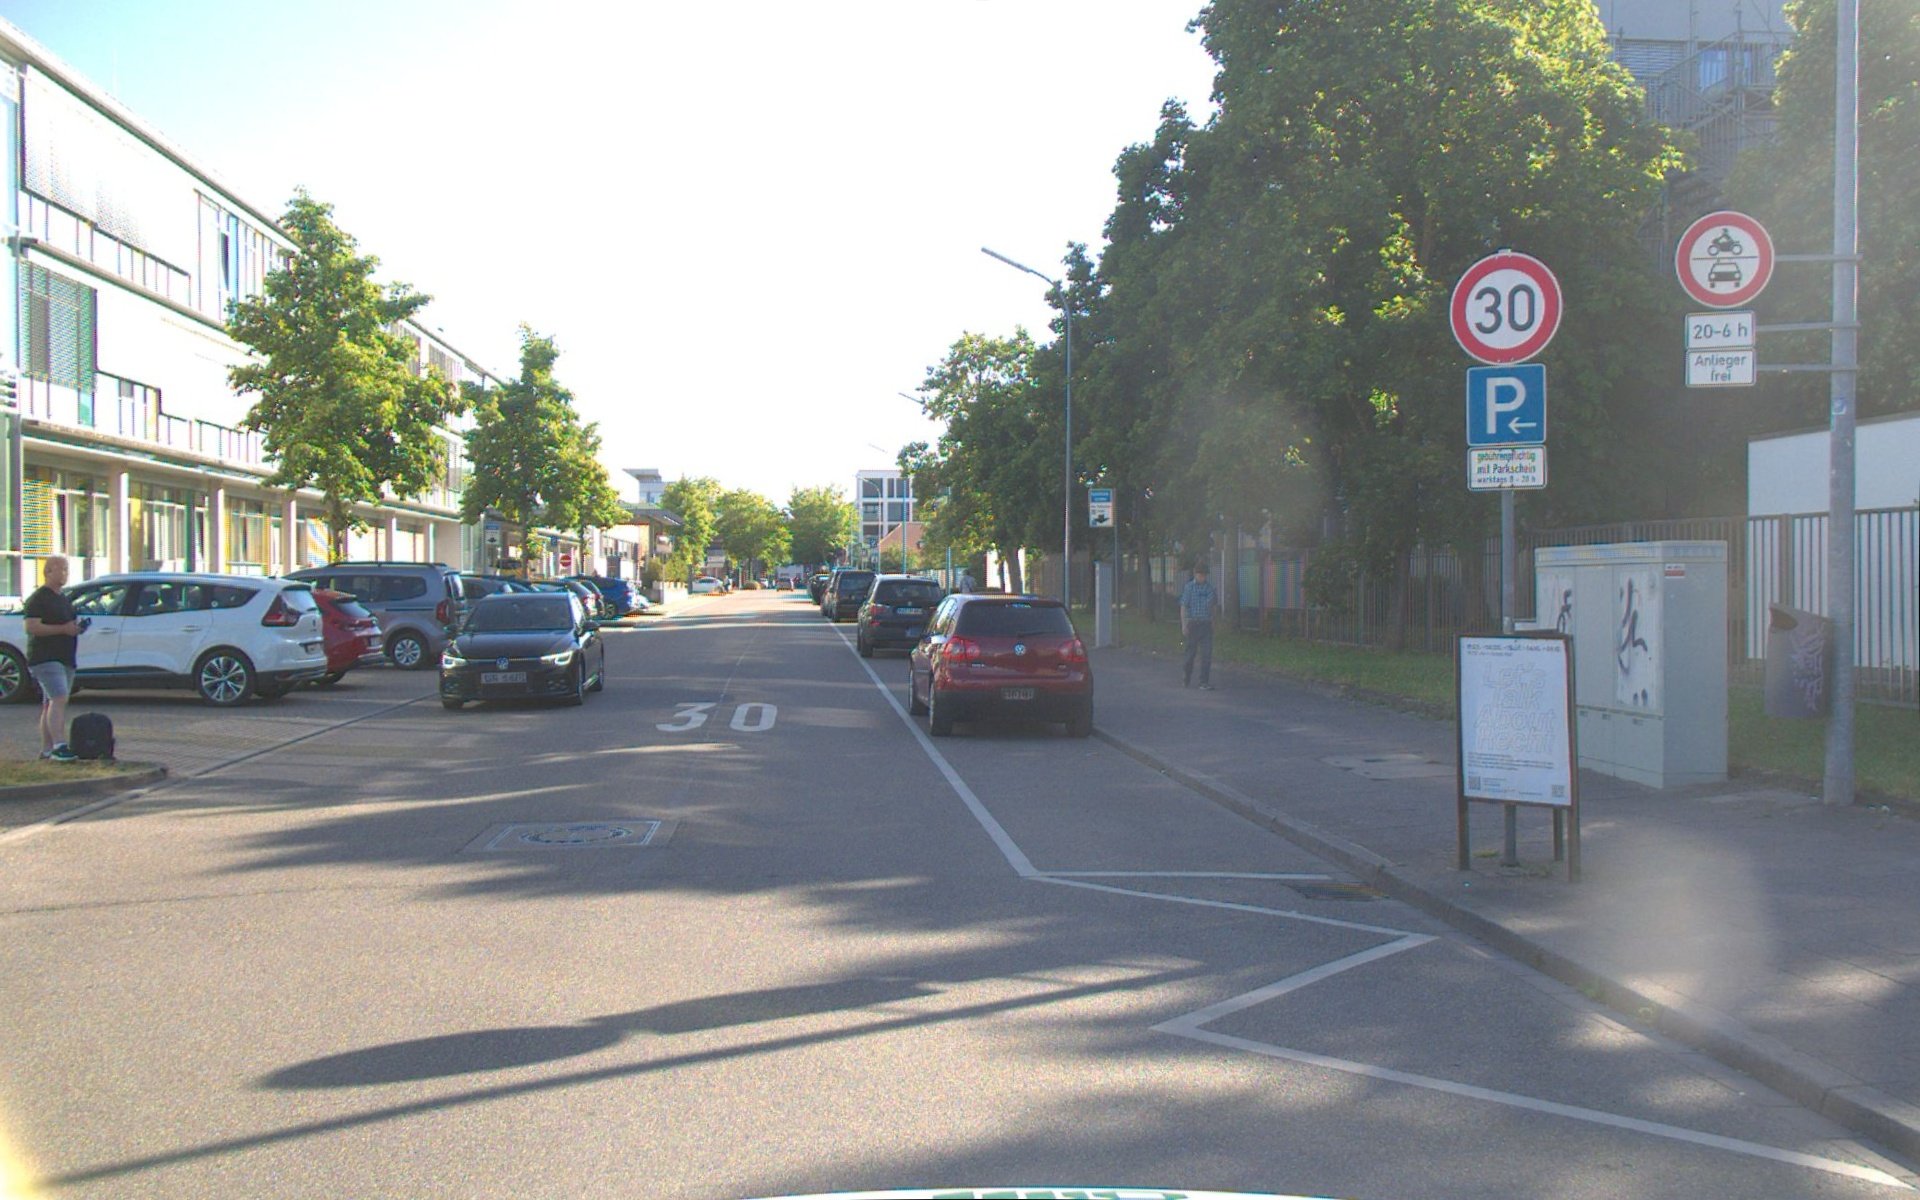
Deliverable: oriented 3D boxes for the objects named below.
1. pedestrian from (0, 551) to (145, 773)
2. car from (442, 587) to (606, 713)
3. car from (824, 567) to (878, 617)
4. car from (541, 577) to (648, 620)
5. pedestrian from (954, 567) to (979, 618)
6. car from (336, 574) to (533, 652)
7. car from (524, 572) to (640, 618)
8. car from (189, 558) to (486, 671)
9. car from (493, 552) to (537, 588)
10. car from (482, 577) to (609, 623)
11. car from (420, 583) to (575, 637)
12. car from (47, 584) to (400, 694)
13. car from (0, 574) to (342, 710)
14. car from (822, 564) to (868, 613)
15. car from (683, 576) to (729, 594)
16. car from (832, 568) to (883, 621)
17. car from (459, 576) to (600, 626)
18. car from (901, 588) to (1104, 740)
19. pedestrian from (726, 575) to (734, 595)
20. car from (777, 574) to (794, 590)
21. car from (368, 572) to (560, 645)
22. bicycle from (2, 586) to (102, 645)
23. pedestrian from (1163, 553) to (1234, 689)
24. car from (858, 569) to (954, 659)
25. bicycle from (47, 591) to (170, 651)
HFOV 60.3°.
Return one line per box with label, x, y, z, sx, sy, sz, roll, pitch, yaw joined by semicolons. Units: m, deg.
pedestrian;-7.795;0.525;14.533;0.841;1.874;0.825;1;0;-4
car;-5.809;0.595;22.437;1.672;1.476;4.078;-2;1;-9
car;-4.368;-0.341;65.835;1.955;1.854;4.193;-1;1;-6
car;-14.288;-0.091;64.875;3.913;1.579;1.996;-1;1;-9
pedestrian;0.224;-0.254;55.886;0.685;1.690;0.751;-3;1;-6
car;-11.619;0.278;36.827;3.914;1.635;1.868;1;0;-10
car;-14.225;-0.209;62.428;4.137;1.631;1.868;1;0;-10
car;-11.139;0.250;29.851;4.650;1.897;1.825;1;1;-6
car;-26.871;-1.784;99.985;1.955;2.049;3.995;0;0;-6
car;-14.437;0.004;57.796;4.137;1.512;1.868;1;1;-10
car;-12.674;0.263;45.546;3.914;1.382;1.739;1;1;-10
car;-10.668;0.532;24.231;4.348;1.527;1.825;0;0;-6
car;-10.652;0.516;21.500;4.519;1.680;1.867;0;0;-3
car;-5.041;-0.524;72.037;1.838;2.013;3.995;-1;1;-6
car;-22.317;-1.350;145.546;3.910;1.545;1.997;0;-1;-6
car;-3.737;-0.220;59.634;1.699;1.862;3.901;0;1;-6
car;-13.610;0.015;52.438;4.137;1.487;1.868;1;1;-10
car;0.354;0.627;18.891;1.687;1.480;4.646;1;1;-6
pedestrian;-19.388;-1.267;139.485;0.607;1.652;0.715;-1;1;-6
car;-17.711;-1.847;168.121;1.710;1.570;3.995;0;1;-6
car;-11.843;0.200;39.770;4.169;1.640;2.044;1;1;-10
bicycle;-18.875;0.309;34.438;0.851;1.174;1.993;1;0;4
pedestrian;3.236;0.275;22.535;0.704;1.788;0.884;-3;1;-5
car;-1.209;0.238;34.834;1.776;1.695;4.588;1;2;-5
bicycle;-17.476;0.426;34.003;0.850;1.174;2.374;1;0;15
